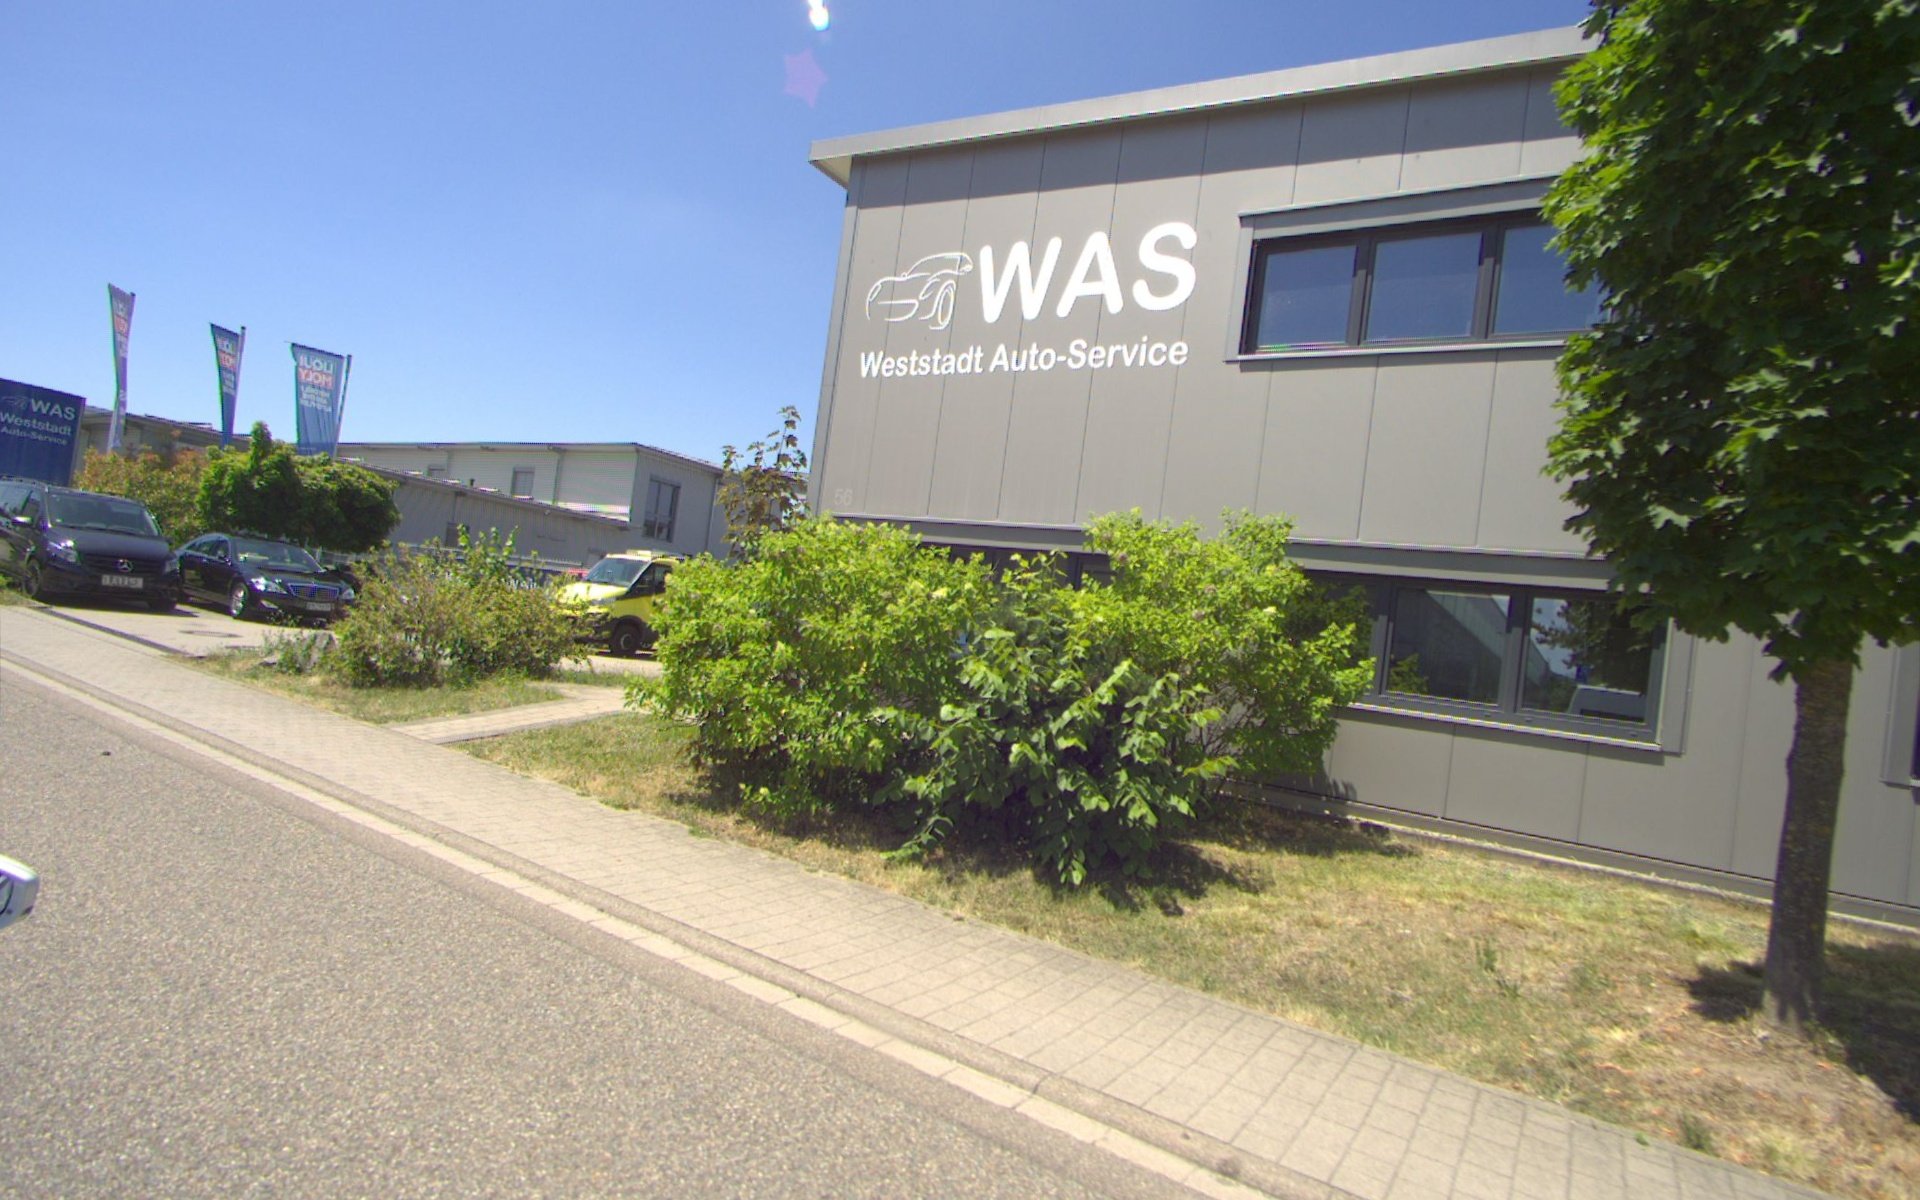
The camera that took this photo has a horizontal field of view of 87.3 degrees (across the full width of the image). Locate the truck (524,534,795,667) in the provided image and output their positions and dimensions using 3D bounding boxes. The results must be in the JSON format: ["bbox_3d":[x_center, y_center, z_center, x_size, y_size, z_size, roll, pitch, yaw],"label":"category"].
[{"bbox_3d":[-6.867,0.135,23.815,2.146,2.397,5.940,6,-2,34],"label":"truck"}]

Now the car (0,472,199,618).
[{"bbox_3d":[-15.809,-1.045,17.792,5.252,2.037,1.996,6,-2,34],"label":"car"}]

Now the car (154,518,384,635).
[{"bbox_3d":[-13.259,-0.475,19.239,4.517,1.554,1.996,8,-1,34],"label":"car"}]

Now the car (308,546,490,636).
[{"bbox_3d":[-12.515,-0.211,22.375,4.049,1.386,1.805,8,-1,34],"label":"car"}]
